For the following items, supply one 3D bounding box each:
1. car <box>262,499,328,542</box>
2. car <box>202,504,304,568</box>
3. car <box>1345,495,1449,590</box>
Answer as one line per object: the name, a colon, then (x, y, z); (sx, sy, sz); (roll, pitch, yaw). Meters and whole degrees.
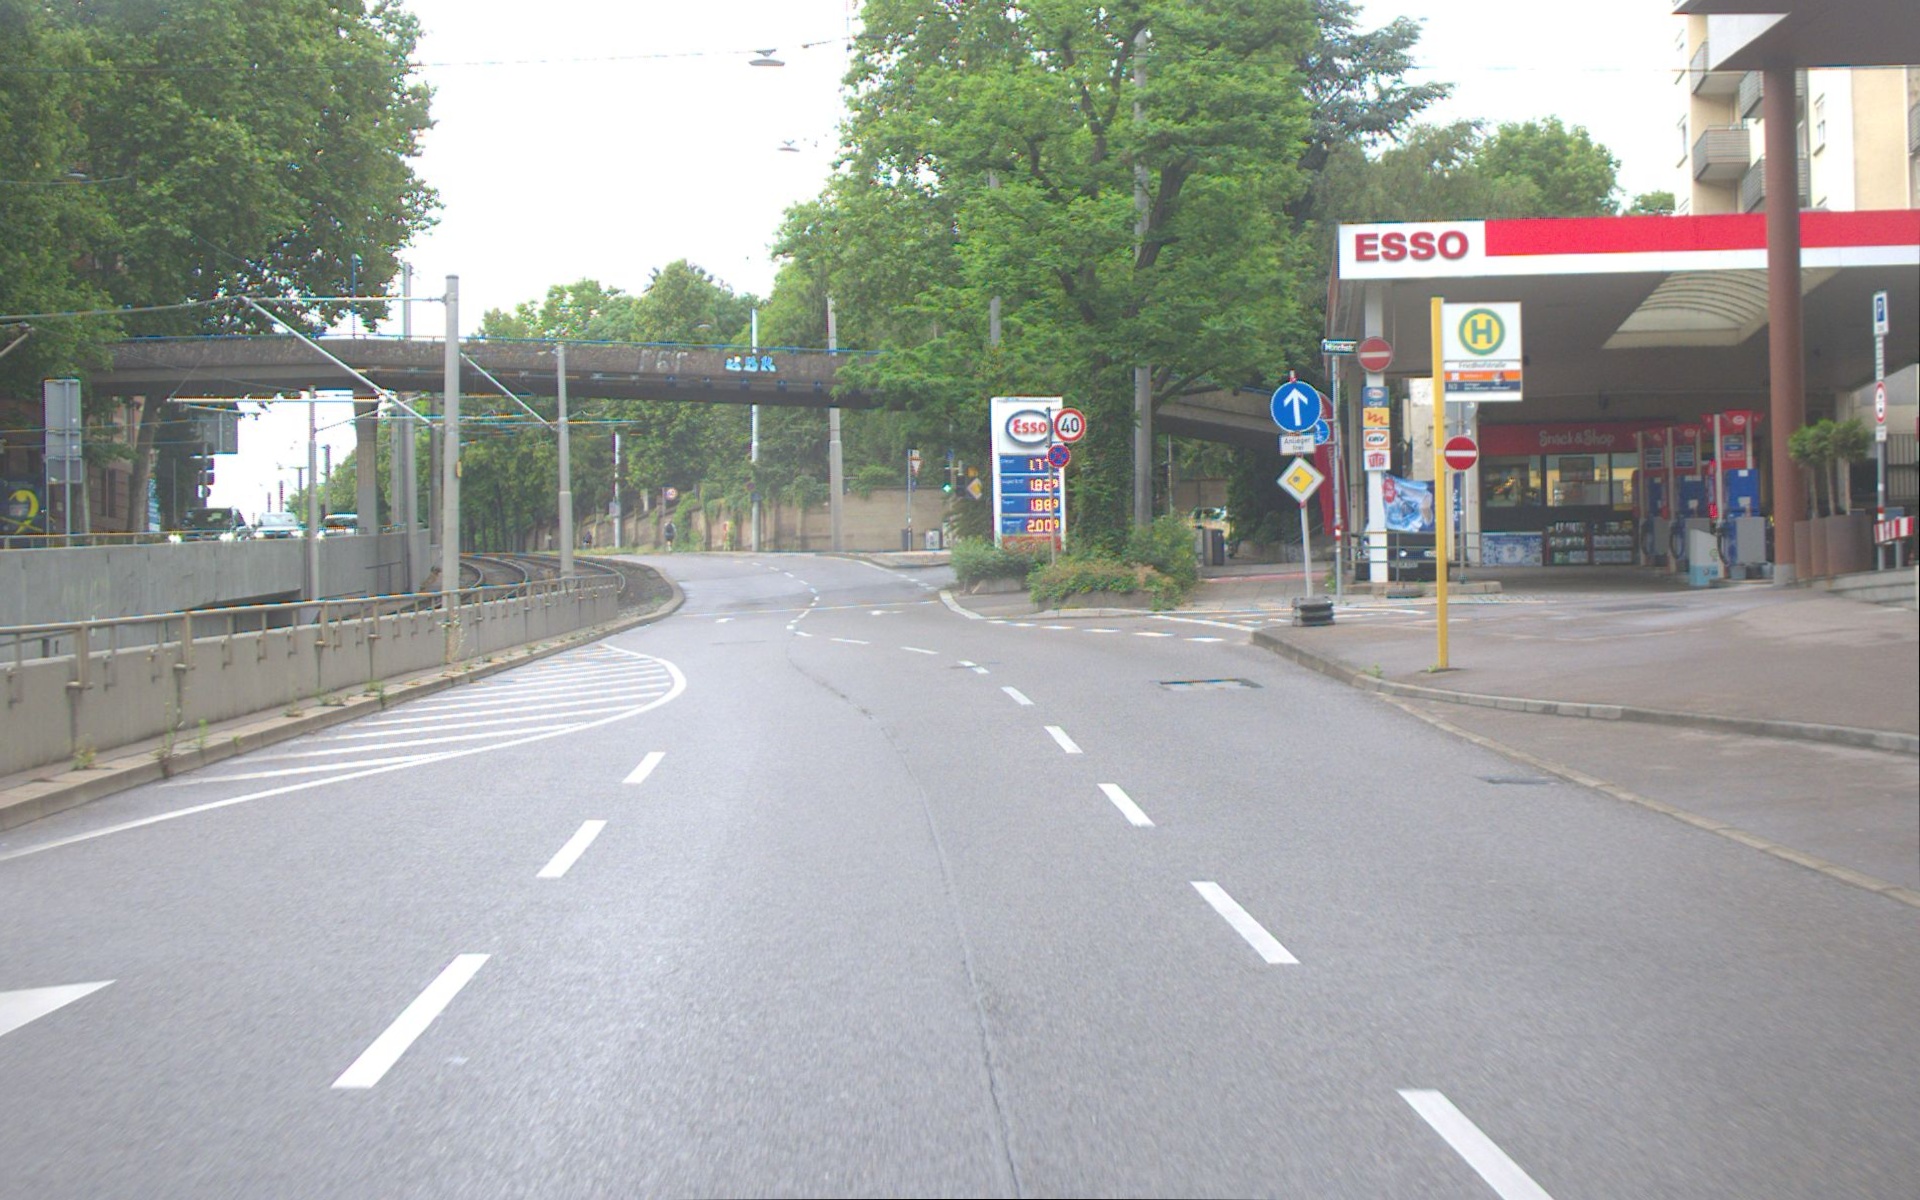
car: (-24.970, -2.983, 129.223); (1.794, 1.505, 4.000); (1, 0, -2)
car: (-21.161, -1.928, 103.109); (1.956, 1.846, 4.968); (1, 1, 1)
car: (8.058, -1.057, 63.261); (1.773, 1.618, 3.865); (-2, 0, 8)
